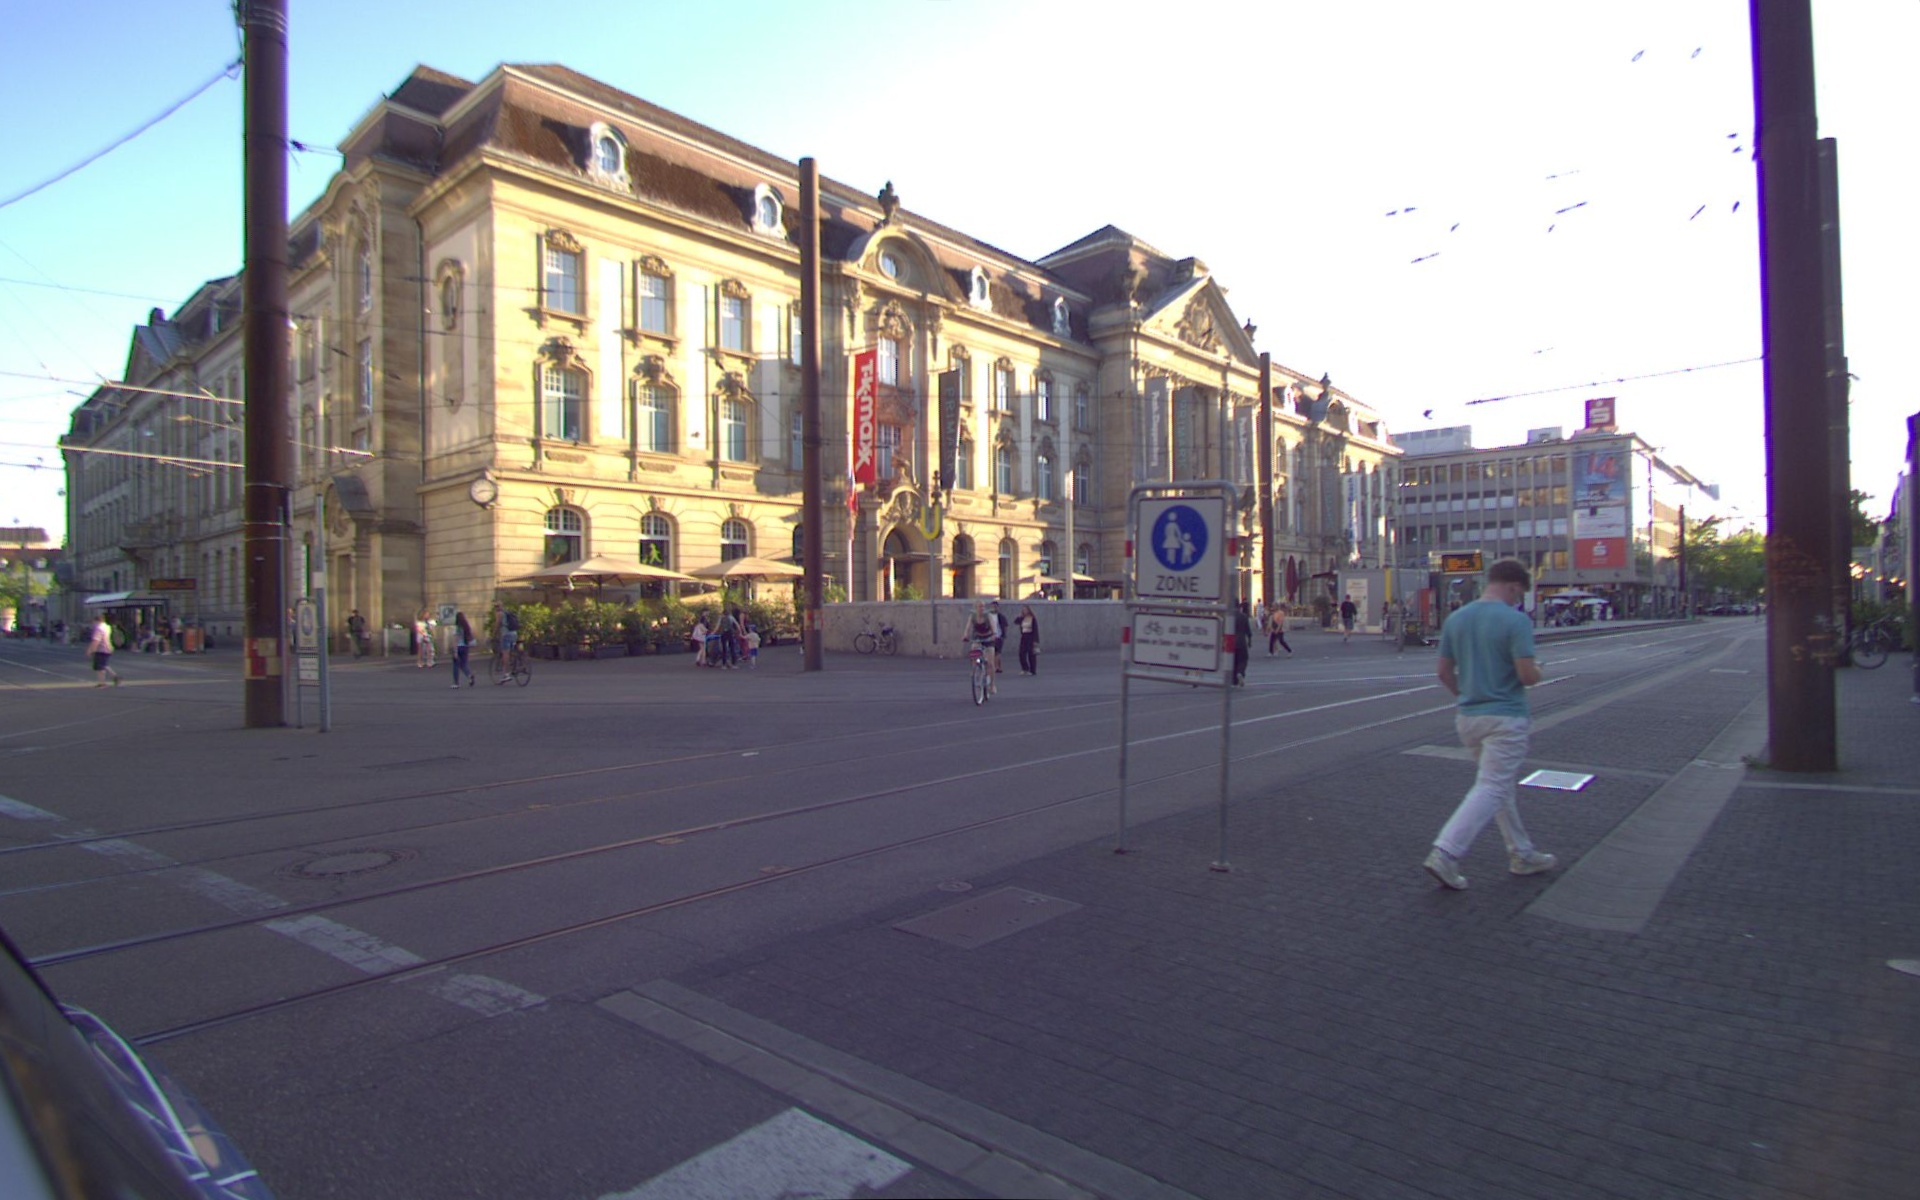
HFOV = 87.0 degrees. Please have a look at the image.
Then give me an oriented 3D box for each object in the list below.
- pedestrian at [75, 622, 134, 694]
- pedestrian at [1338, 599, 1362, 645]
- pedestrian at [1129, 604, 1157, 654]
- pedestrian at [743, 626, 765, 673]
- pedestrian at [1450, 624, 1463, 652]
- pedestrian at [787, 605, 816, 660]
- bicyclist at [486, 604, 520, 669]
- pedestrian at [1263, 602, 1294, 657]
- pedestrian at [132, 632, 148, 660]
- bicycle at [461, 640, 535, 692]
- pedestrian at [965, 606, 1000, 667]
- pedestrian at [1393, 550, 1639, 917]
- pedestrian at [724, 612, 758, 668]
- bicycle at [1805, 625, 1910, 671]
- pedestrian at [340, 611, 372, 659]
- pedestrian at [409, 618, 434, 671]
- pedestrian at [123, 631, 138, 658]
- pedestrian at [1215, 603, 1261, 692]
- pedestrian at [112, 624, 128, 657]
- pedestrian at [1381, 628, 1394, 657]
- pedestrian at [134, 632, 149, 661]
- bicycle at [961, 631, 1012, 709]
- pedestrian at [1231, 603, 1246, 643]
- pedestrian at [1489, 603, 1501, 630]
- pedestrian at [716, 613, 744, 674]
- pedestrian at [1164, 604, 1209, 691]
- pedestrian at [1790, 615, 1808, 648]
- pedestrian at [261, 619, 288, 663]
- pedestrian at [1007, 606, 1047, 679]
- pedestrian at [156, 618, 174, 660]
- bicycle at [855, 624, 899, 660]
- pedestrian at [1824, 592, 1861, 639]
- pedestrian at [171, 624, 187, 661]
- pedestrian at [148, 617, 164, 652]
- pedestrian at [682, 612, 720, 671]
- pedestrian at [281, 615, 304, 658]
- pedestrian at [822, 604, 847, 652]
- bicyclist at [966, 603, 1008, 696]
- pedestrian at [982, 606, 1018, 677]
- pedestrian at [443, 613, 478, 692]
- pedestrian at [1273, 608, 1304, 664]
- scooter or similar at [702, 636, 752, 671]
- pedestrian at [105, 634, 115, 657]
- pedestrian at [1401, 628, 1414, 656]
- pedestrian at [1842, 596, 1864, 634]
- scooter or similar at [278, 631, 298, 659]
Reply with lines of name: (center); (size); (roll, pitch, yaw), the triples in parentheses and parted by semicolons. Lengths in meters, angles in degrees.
pedestrian: (-20.128, 1.351, 23.821); (0.831, 1.641, 0.796); (-2, -1, 27)
pedestrian: (14.541, 0.833, 37.717); (0.650, 1.687, 0.523); (-2, -2, 43)
pedestrian: (6.300, 0.989, 34.808); (0.650, 1.687, 0.706); (-2, -2, 43)
pedestrian: (-5.590, 1.335, 27.483); (0.476, 1.252, 0.413); (-1, -1, -24)
pedestrian: (23.970, 1.831, 48.866); (0.451, 1.309, 0.424); (-2, 1, 37)
pedestrian: (-5.050, 1.040, 32.273); (0.716, 1.718, 0.495); (-1, 0, 25)
bicyclist: (-10.296, 0.809, 22.799); (0.562, 1.438, 0.417); (-2, 0, 35)
pedestrian: (9.789, 0.897, 31.131); (0.674, 1.649, 0.587); (0, -1, -14)
pedestrian: (-39.566, 2.225, 48.825); (0.512, 1.337, 0.638); (0, -1, -44)
bicycle: (-10.482, 1.475, 22.952); (2.018, 1.106, 0.568); (-2, 0, 35)
pedestrian: (0.634, 1.008, 28.535); (0.650, 1.687, 0.706); (-2, -2, 43)
pedestrian: (2.982, 0.642, 5.464); (0.755, 1.774, 0.871); (-2, 0, -33)
pedestrian: (-6.453, 1.170, 29.861); (0.661, 1.626, 0.768); (-2, -1, 17)
bicycle: (21.111, 1.112, 23.850); (0.443, 0.994, 1.932); (-2, 0, -13)
pedestrian: (-21.227, 1.235, 35.579); (0.971, 1.641, 0.681); (-2, -1, 41)
pedestrian: (-15.914, 1.315, 29.906); (0.494, 1.537, 0.528); (-1, -1, -10)
pedestrian: (-41.970, 2.226, 51.205); (0.512, 1.337, 0.638); (0, -1, -44)
pedestrian: (5.365, 0.908, 19.565); (0.650, 1.687, 0.523); (-2, -2, 43)
pedestrian: (-43.613, 2.085, 52.539); (0.510, 1.663, 0.640); (-1, 0, -26)
pedestrian: (19.779, 1.977, 46.802); (0.451, 1.309, 0.424); (-2, 1, 37)
pedestrian: (-38.972, 2.210, 48.183); (0.512, 1.337, 0.638); (0, -1, -44)
bicycle: (0.454, 1.117, 16.680); (0.692, 1.124, 1.916); (-2, 0, 5)
pedestrian: (11.520, 0.952, 41.821); (0.503, 1.649, 0.347); (-1, -1, 4)
pedestrian: (26.514, 0.833, 50.127); (0.451, 1.330, 0.424); (-2, 1, 37)
pedestrian: (-6.193, 1.160, 27.207); (0.639, 1.585, 0.482); (-1, -1, -20)
pedestrian: (4.447, 0.921, 19.870); (0.650, 1.687, 0.523); (-2, -2, 43)
pedestrian: (43.624, 1.635, 52.609); (0.650, 1.687, 0.523); (-2, -2, 43)
pedestrian: (-26.493, 1.579, 39.124); (0.630, 1.626, 0.692); (-2, 0, 41)
pedestrian: (1.582, 1.000, 23.835); (0.522, 1.687, 0.755); (0, -2, -42)
pedestrian: (-34.456, 1.688, 43.856); (0.461, 1.789, 0.563); (-1, -1, -25)
bicycle: (-2.642, 1.330, 32.032); (1.581, 1.093, 0.444); (-2, 0, 45)
pedestrian: (31.368, 0.563, 35.962); (0.901, 1.649, 0.939); (-2, -1, 45)
pedestrian: (-36.359, 1.972, 47.086); (0.512, 1.658, 0.638); (0, -1, -44)
pedestrian: (-37.303, 1.580, 46.961); (0.512, 1.581, 0.638); (0, -1, -44)
pedestrian: (-7.306, 1.171, 28.550); (0.687, 1.626, 0.819); (-2, -1, 17)
pedestrian: (-28.283, 1.549, 42.877); (0.705, 1.789, 0.614); (-2, -1, 39)
pedestrian: (-4.583, 1.000, 36.868); (0.719, 1.718, 0.493); (-1, 1, 36)
bicyclist: (0.462, 0.806, 16.892); (0.592, 1.476, 0.872); (-2, 0, 6)
pedestrian: (0.967, 0.990, 24.494); (0.522, 1.687, 0.651); (0, -2, -42)
pedestrian: (-11.034, 1.147, 22.345); (0.639, 1.687, 0.532); (0, -1, -32)
pedestrian: (9.884, 1.083, 30.468); (0.674, 1.649, 0.587); (0, -1, -14)
scooter or similar: (-6.469, 1.479, 28.133); (0.883, 0.911, 1.090); (-2, -1, 19)
pedestrian: (-46.061, 2.466, 54.836); (0.360, 1.209, 0.430); (-2, 0, -42)
pedestrian: (20.753, 1.945, 46.928); (0.451, 1.309, 0.424); (-2, 1, 37)
pedestrian: (38.677, 0.659, 43.831); (0.685, 1.649, 0.577); (-2, -1, 43)
scooter or similar: (-30.359, 2.023, 45.726); (1.293, 1.190, 0.481); (-2, 0, 44)
